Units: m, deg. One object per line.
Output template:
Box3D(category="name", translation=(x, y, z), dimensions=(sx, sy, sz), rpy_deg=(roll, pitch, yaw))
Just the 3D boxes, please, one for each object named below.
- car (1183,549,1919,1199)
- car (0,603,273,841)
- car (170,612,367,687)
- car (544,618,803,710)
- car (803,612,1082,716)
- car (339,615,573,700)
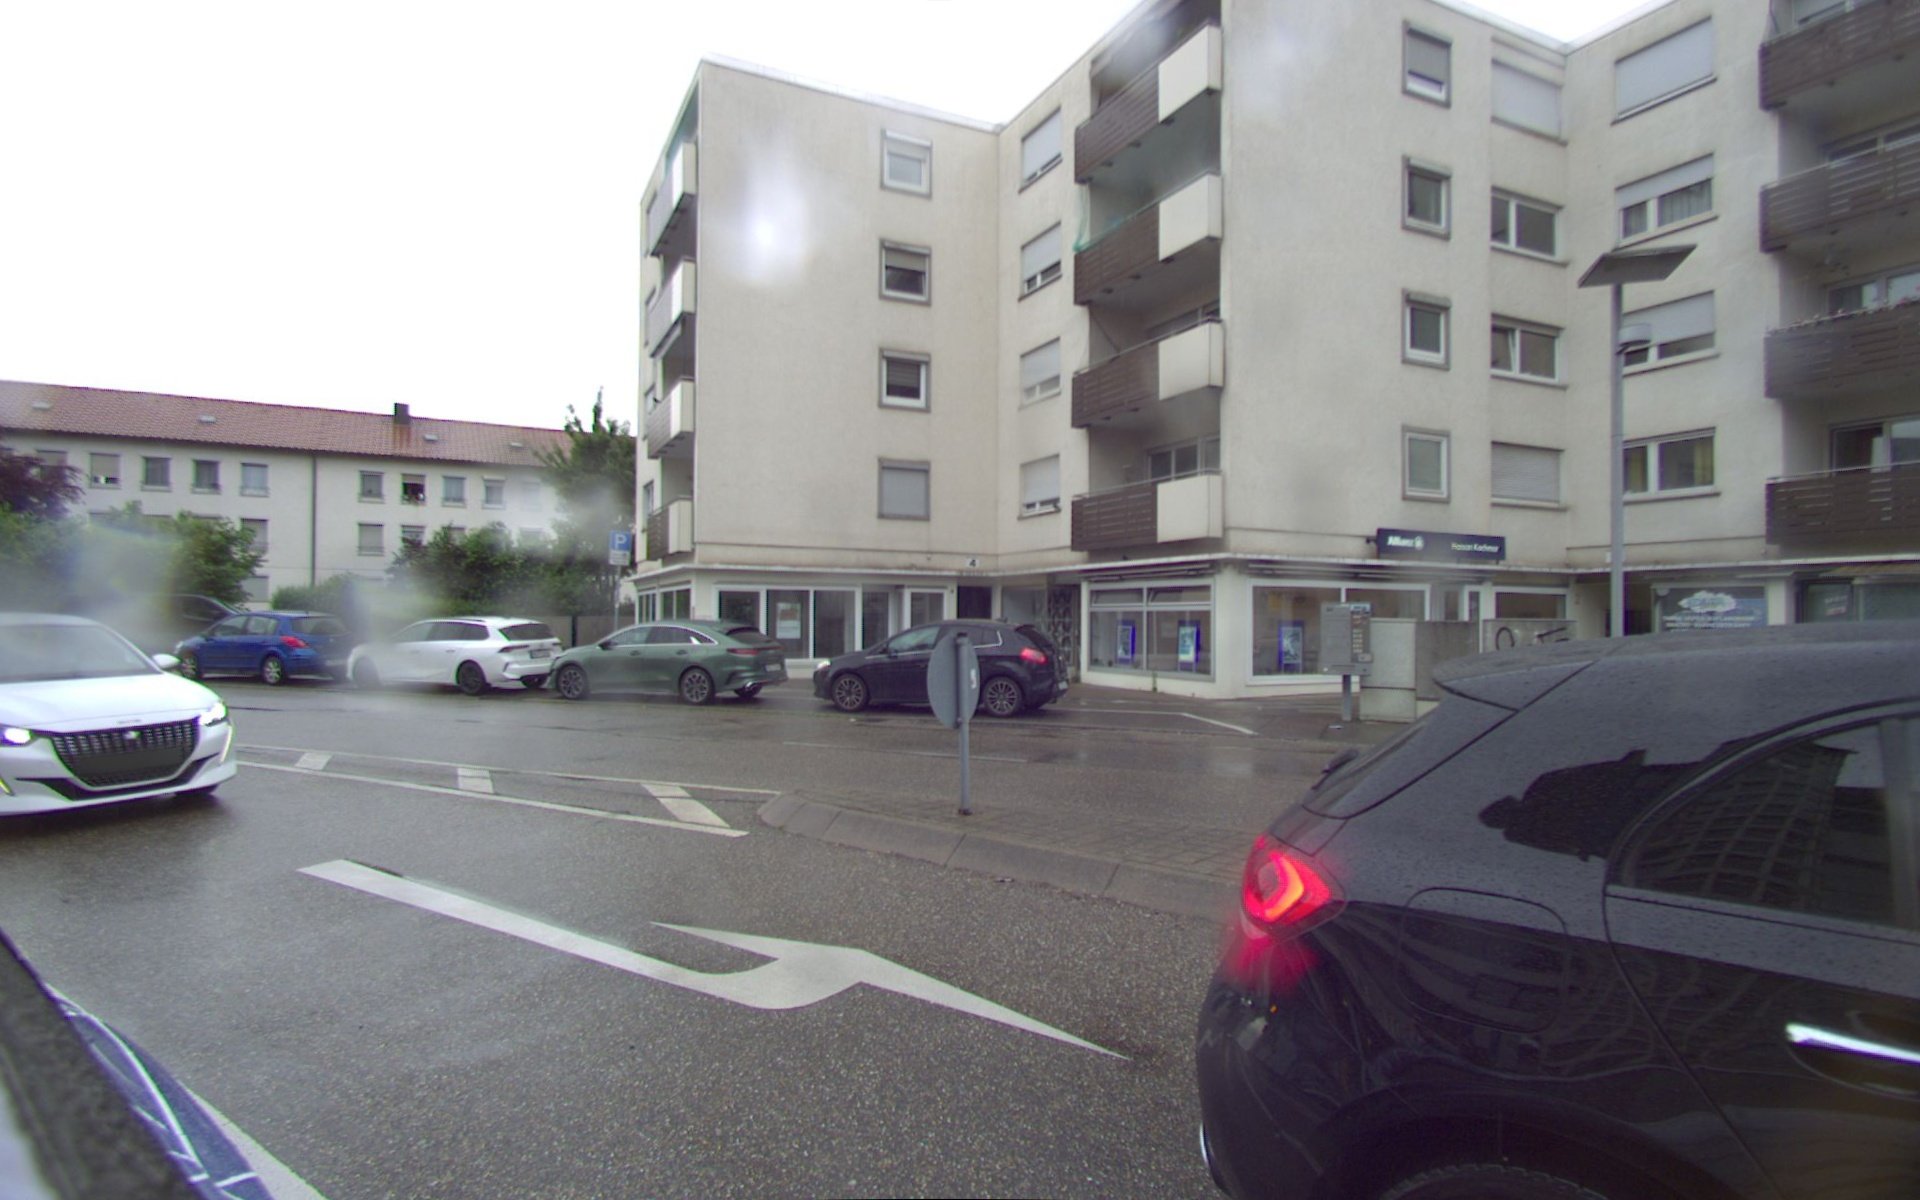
Box3D(category="car", translation=(2.483, 0.650, 1.040), dimensions=(4.091, 1.492, 1.646), rpy_deg=(-2, -1, 40))
Box3D(category="car", translation=(-7.238, 0.770, 7.641), dimensions=(3.876, 1.420, 1.729), rpy_deg=(-1, 0, 27))
Box3D(category="car", translation=(-15.118, 1.033, 22.135), dimensions=(3.852, 1.517, 1.623), rpy_deg=(0, -1, 21))
Box3D(category="car", translation=(-5.150, 1.085, 18.256), dimensions=(4.241, 1.445, 1.826), rpy_deg=(0, 0, 20))
Box3D(category="car", translation=(-0.264, 0.953, 16.345), dimensions=(4.157, 1.471, 1.825), rpy_deg=(0, 0, 20))
Box3D(category="car", translation=(-9.990, 1.079, 20.062), dimensions=(4.313, 1.511, 1.627), rpy_deg=(0, -1, 20))
